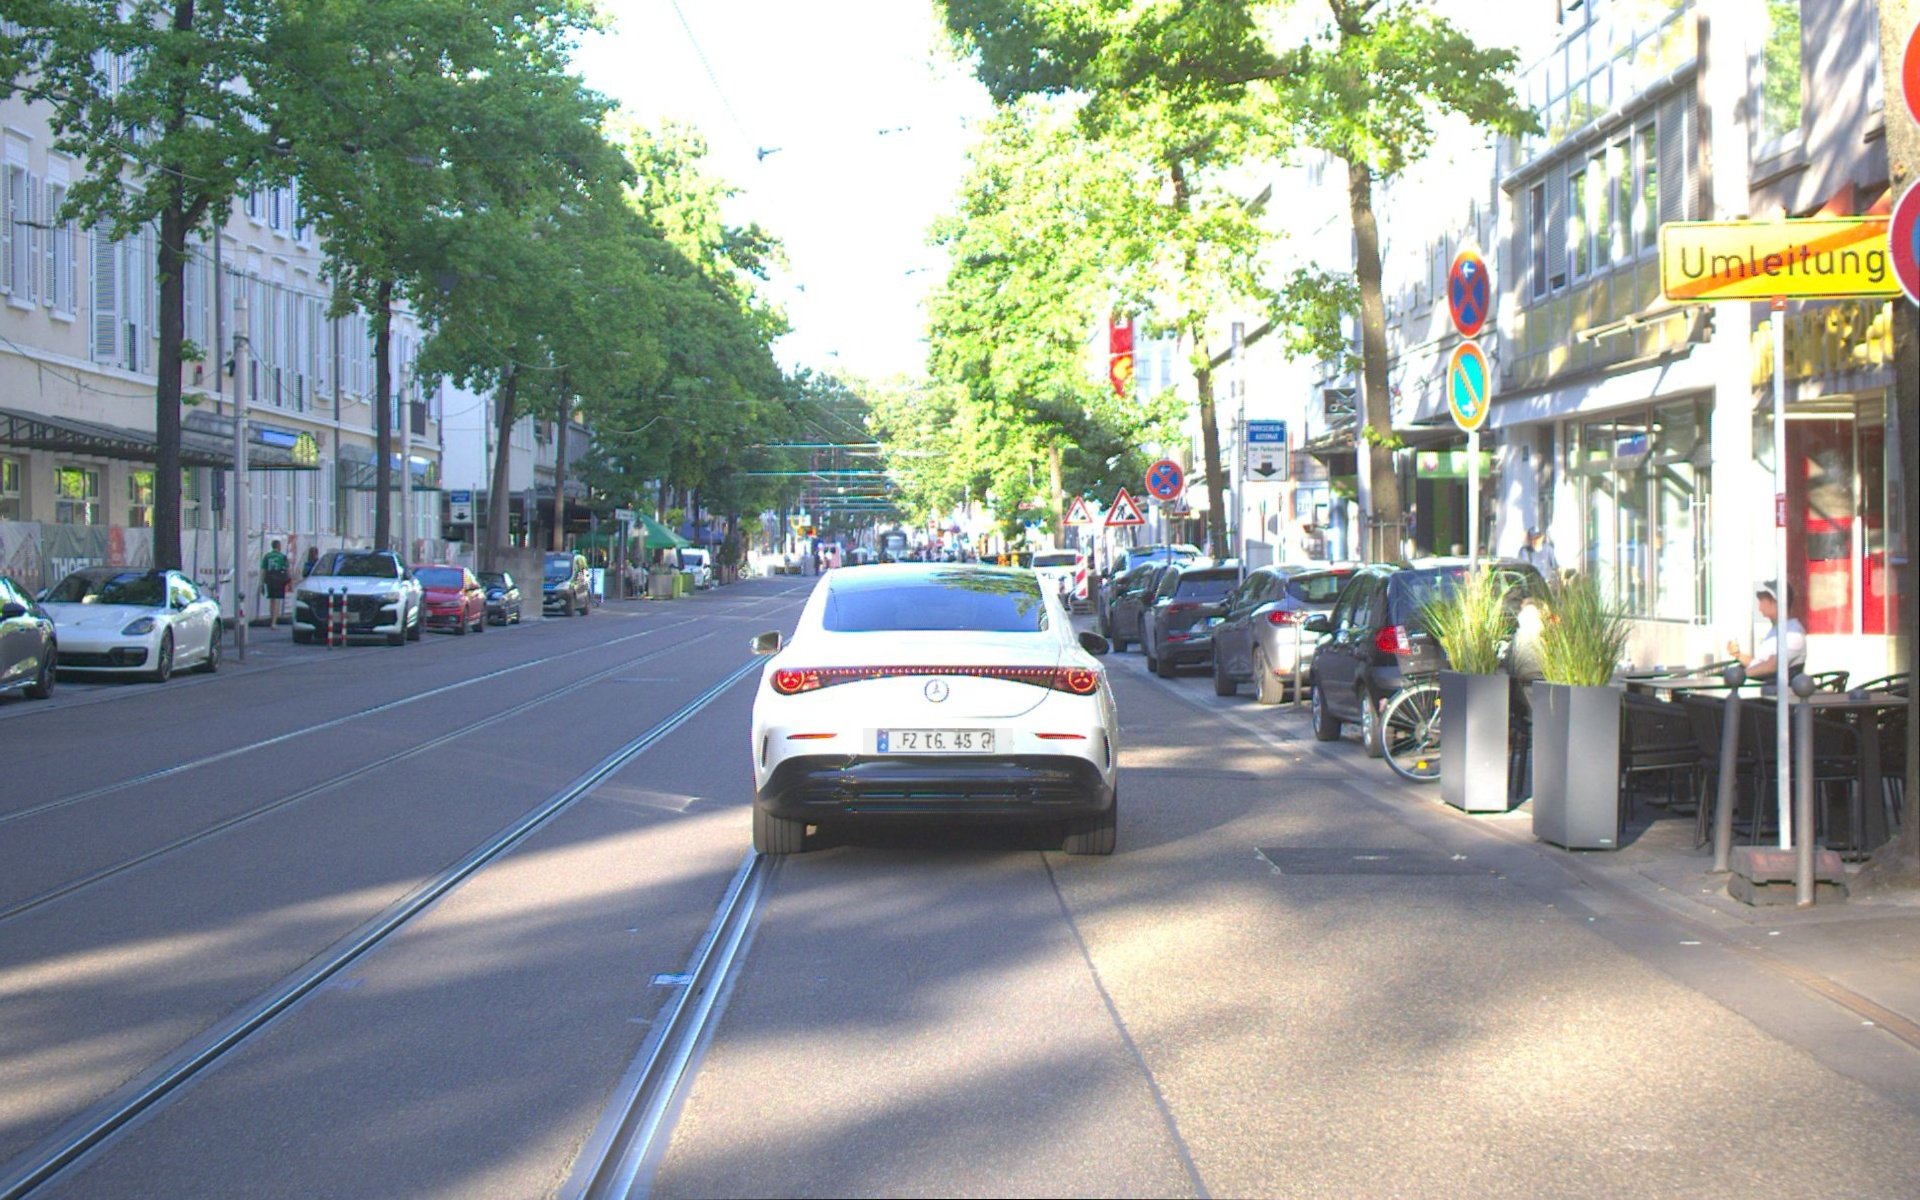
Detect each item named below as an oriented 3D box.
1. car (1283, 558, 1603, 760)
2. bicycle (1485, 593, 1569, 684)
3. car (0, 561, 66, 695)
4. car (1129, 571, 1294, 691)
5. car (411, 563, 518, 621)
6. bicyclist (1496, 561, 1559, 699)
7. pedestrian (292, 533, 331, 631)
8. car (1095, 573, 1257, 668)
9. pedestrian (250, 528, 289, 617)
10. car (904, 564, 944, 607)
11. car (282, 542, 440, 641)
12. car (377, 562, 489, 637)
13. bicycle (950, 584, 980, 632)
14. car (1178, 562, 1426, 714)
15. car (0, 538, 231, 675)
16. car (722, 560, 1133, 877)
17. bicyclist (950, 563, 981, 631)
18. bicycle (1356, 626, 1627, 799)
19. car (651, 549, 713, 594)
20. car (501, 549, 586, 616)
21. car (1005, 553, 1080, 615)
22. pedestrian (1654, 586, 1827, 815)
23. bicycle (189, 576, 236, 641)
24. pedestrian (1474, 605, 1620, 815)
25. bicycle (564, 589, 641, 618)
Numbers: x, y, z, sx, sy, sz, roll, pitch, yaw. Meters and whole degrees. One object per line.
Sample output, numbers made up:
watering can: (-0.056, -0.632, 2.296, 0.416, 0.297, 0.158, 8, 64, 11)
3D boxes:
car: (3.757, 0.432, 27.321, 1.800, 1.453, 3.655, -1, 0, -3)
bicycle: (6.967, 0.463, 42.337, 0.647, 1.070, 1.861, 0, 0, -2)
car: (-11.103, 0.267, 36.929, 1.961, 1.408, 4.847, 2, 0, -3)
car: (3.192, 0.363, 44.294, 1.871, 1.448, 4.106, -1, 0, 1)
car: (-11.712, -0.202, 81.497, 1.993, 1.288, 4.000, 2, 0, -1)
bicyclist: (6.979, 0.367, 42.286, 0.638, 1.678, 0.600, 0, 0, -2)
pedestrian: (-13.373, -0.377, 70.933, 0.707, 1.997, 0.676, 1, 0, -6)
car: (3.401, 0.303, 54.776, 1.837, 1.431, 4.001, 1, 0, -7)
pedestrian: (-14.239, -0.569, 70.890, 0.707, 1.800, 0.676, 1, 0, -6)
car: (-2.139, -0.854, 204.211, 1.993, 2.533, 4.001, 2, 0, -6)
car: (-10.954, -0.156, 63.189, 1.962, 1.686, 5.013, 2, 0, 0)
car: (-11.172, -0.020, 73.110, 1.688, 1.494, 4.234, 2, 0, 0)
bicycle: (0.132, 0.199, 86.794, 0.740, 1.184, 2.160, 1, 0, 0)
car: (3.569, 0.378, 36.535, 1.814, 1.481, 4.001, 2, 0, -6)
car: (-11.067, 0.068, 44.884, 1.946, 1.634, 4.909, 2, 0, 1)
car: (-0.287, 0.577, 18.229, 1.867, 1.464, 4.043, 1, -1, -5)
bicyclist: (0.139, -0.071, 86.758, 0.724, 1.697, 0.811, 1, 0, 0)
bicycle: (3.589, 0.752, 23.223, 1.728, 1.135, 0.546, -1, 0, 20)
car: (-12.729, -1.300, 157.559, 1.994, 2.007, 3.999, 1, 0, 7)
car: (-11.508, -0.492, 95.114, 1.553, 1.790, 3.166, 1, 0, 8)
car: (2.360, -0.461, 98.921, 1.993, 1.722, 4.241, 1, 0, -1)
pedestrian: (4.854, 0.614, 21.398, 0.707, 1.382, 0.747, 1, 0, -38)
bicycle: (-12.420, 0.134, 57.150, 0.593, 1.047, 2.009, 1, 0, -8)
pedestrian: (3.632, 0.675, 21.326, 0.817, 1.261, 0.586, 1, 0, 5)
bicycle: (-10.851, 0.100, 104.373, 2.255, 0.827, 0.716, 1, 0, 22)
